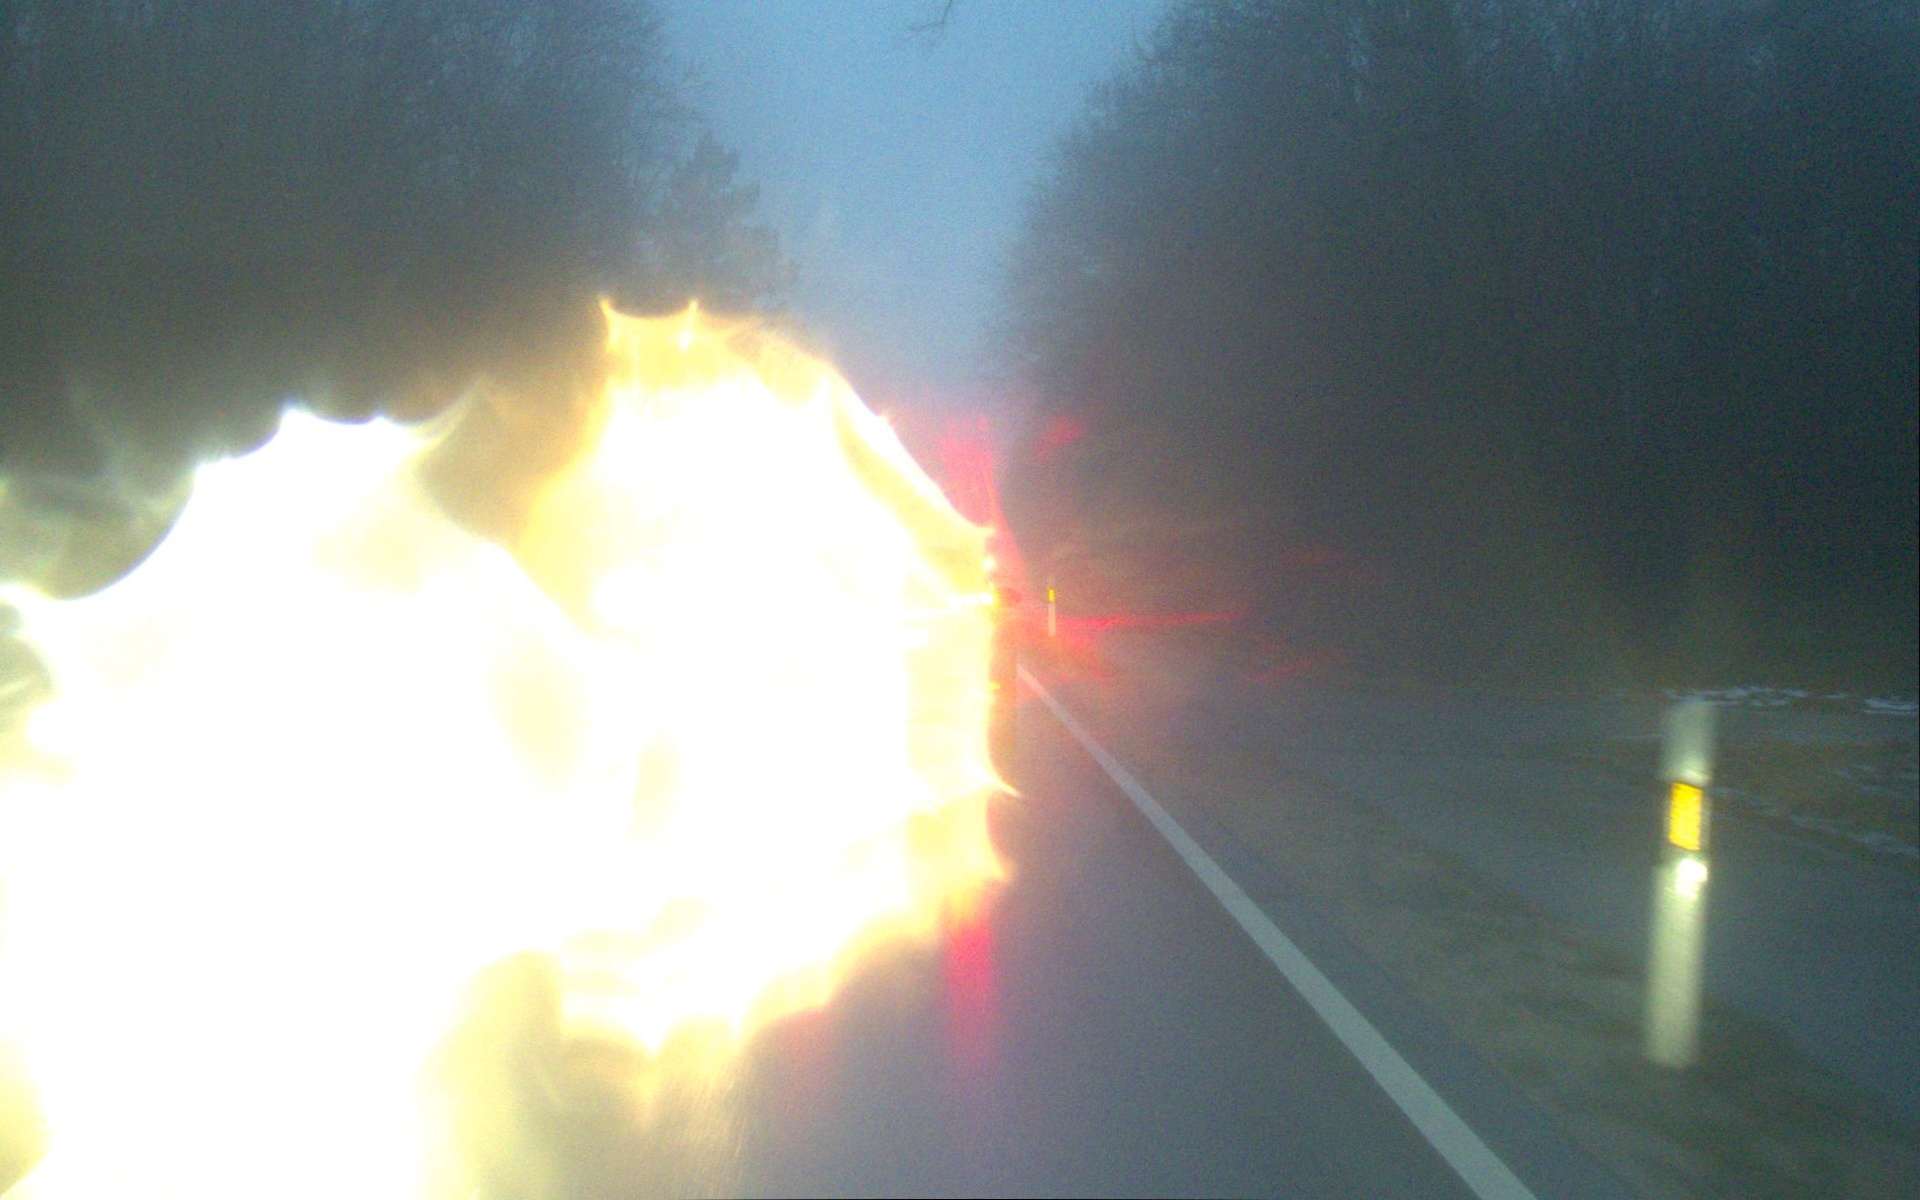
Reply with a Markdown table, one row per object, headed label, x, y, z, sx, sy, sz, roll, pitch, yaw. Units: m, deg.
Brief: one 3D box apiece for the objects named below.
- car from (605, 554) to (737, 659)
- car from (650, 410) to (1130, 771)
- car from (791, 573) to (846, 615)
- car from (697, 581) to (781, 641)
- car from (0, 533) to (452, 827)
| label | x | y | z | sx | sy | sz | roll | pitch | yaw |
| --- | --- | --- | --- | --- | --- | --- | --- | --- | --- |
| car | -4.823 | 0.067 | 57.940 | 1.918 | 1.602 | 5.016 | -1 | 1 | -2 |
| car | -0.457 | -0.099 | 26.297 | 3.183 | 2.378 | 6.636 | 1 | 1 | 0 |
| car | -5.575 | -0.259 | 135.606 | 2.075 | 1.610 | 4.152 | -1 | 0 | -1 |
| car | -5.525 | 0.251 | 86.308 | 1.868 | 1.418 | 4.387 | 0 | 1 | -1 |
| car | -3.960 | 0.361 | 19.152 | 1.691 | 1.415 | 4.000 | -1 | 1 | -1 |
